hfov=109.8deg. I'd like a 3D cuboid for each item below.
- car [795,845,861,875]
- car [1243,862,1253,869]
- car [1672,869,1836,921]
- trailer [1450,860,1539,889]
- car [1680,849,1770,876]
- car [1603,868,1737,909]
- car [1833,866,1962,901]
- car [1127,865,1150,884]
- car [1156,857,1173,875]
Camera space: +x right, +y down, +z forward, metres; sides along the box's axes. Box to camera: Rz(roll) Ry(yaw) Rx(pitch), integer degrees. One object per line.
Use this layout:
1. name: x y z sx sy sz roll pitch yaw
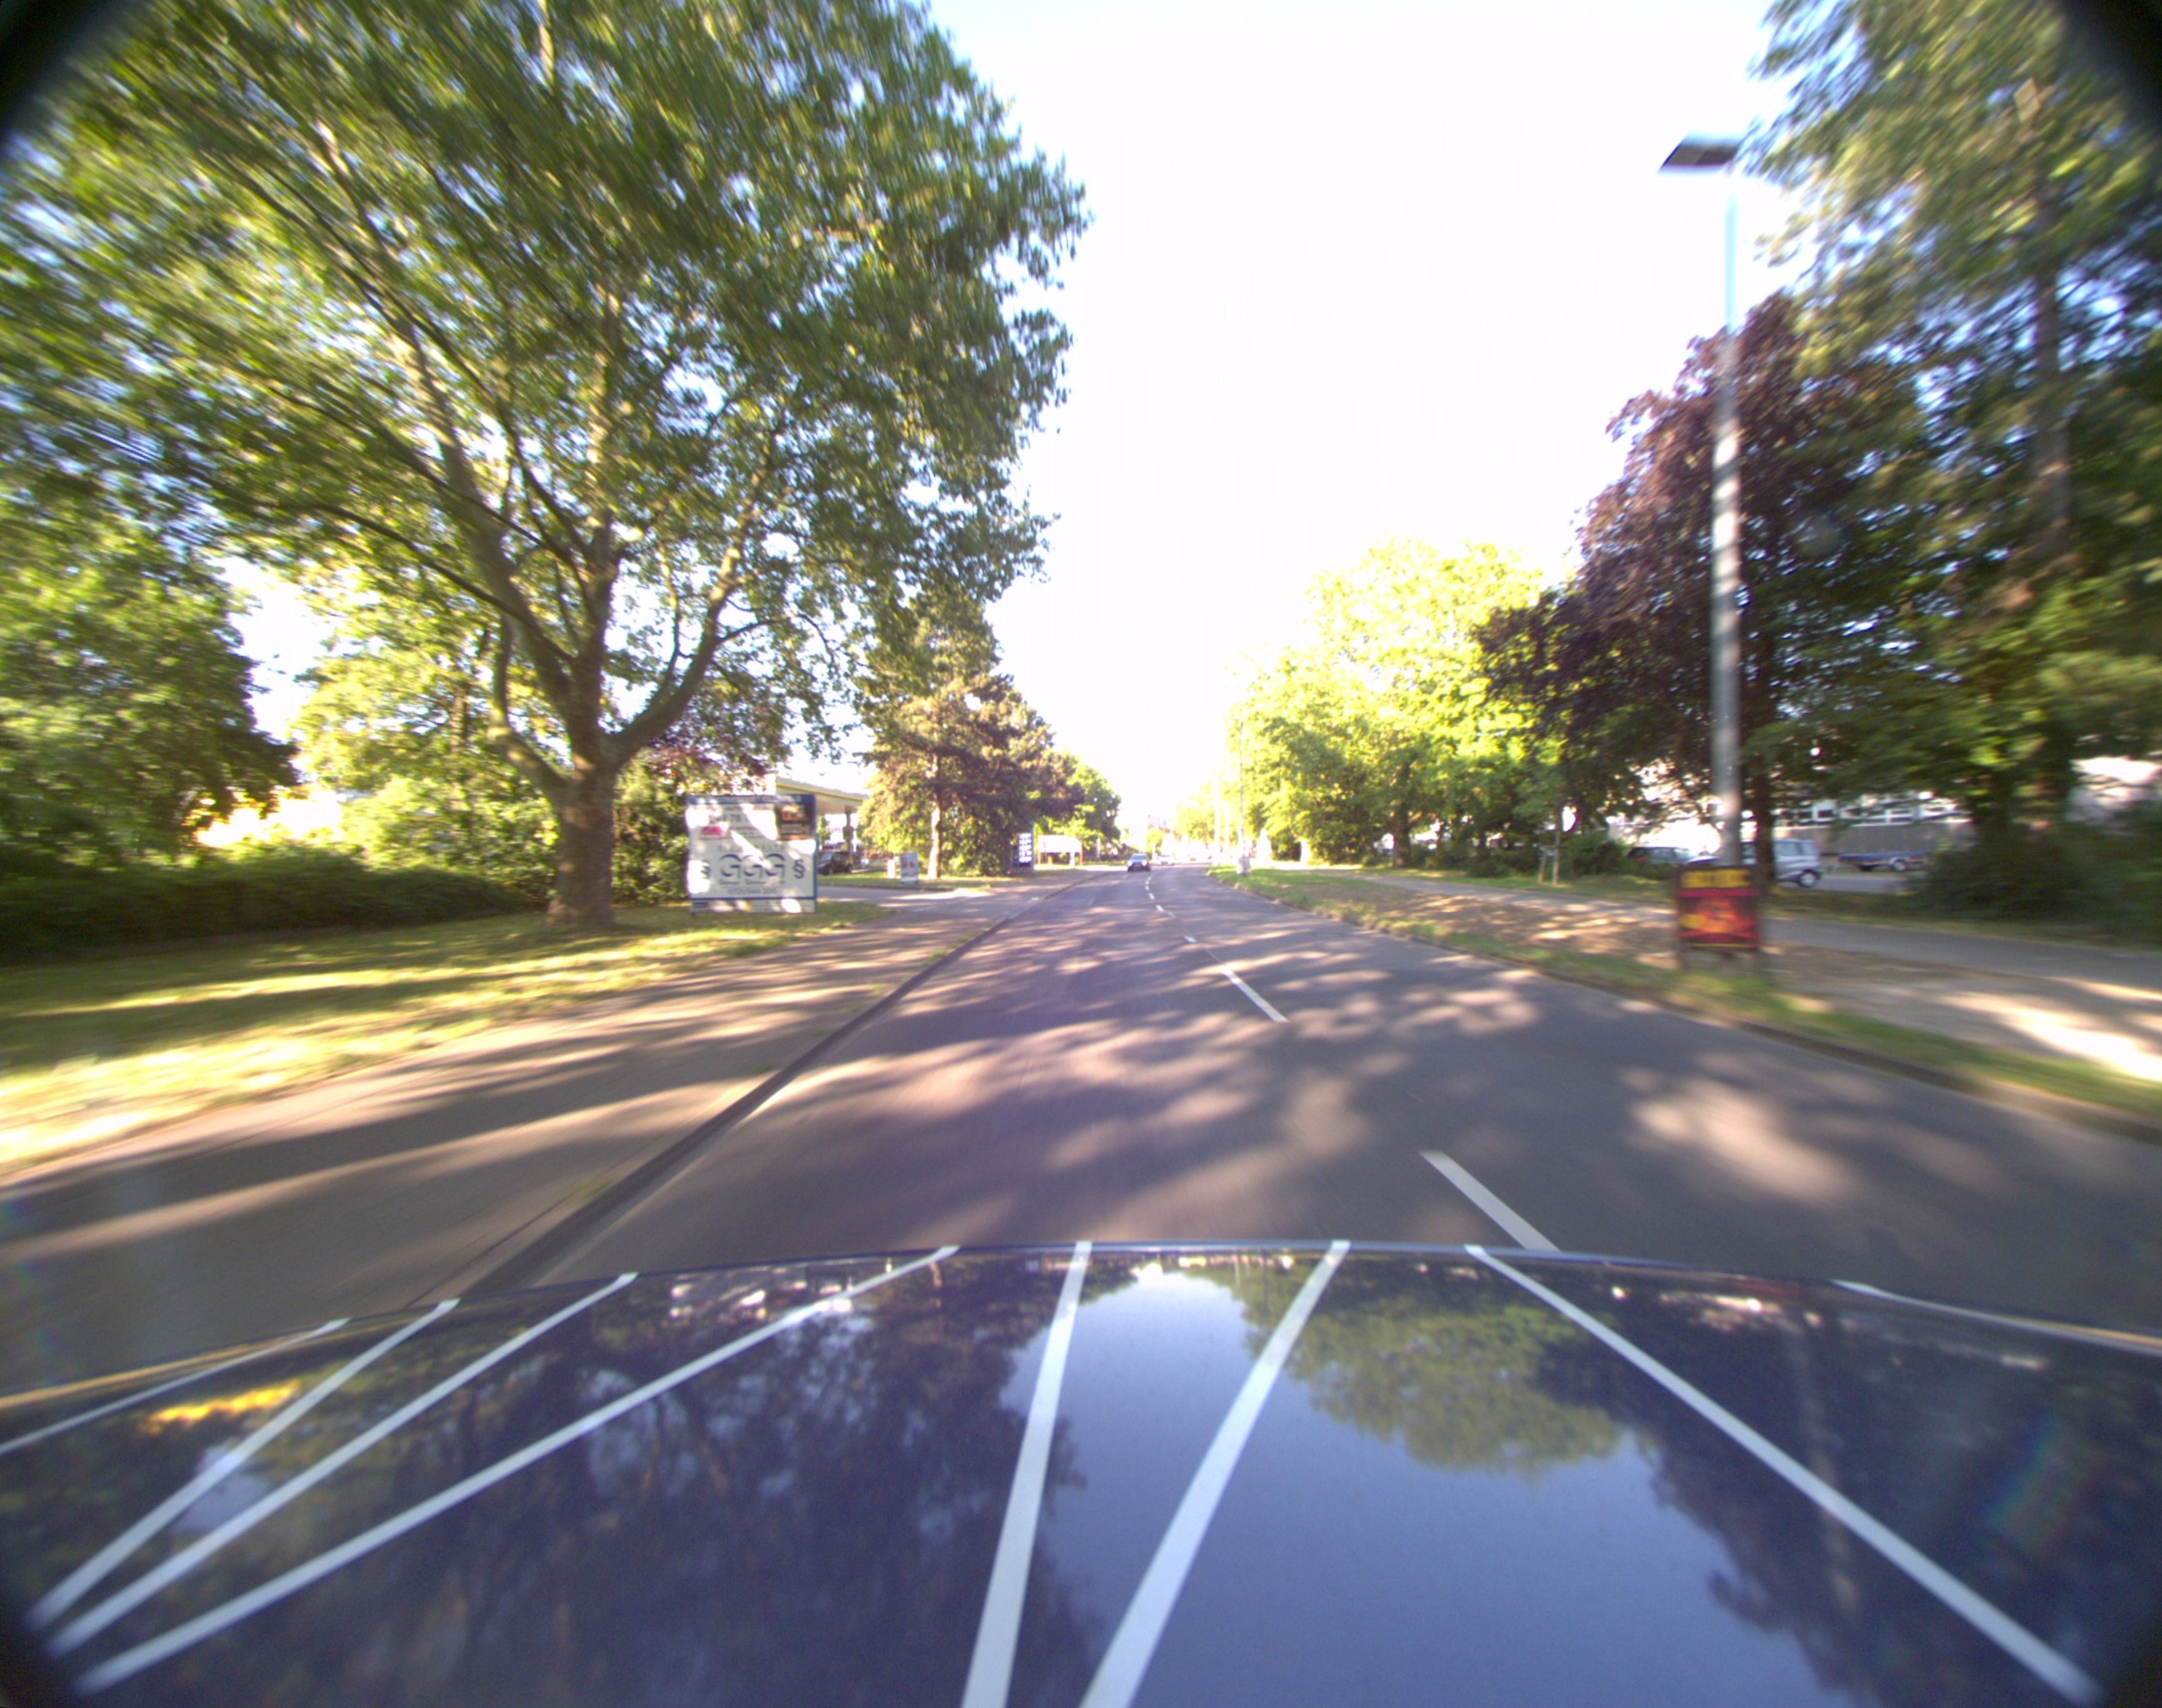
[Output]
1. car: -14.699 0.317 44.420 1.928 1.637 4.477 -1 0 5
2. car: 37.804 2.587 171.759 1.763 1.474 4.113 -3 -1 16
3. car: 23.396 1.405 26.551 3.996 1.592 1.929 -1 1 2
4. trailer: 23.757 1.147 43.783 3.995 1.546 2.001 -1 0 5
5. car: 40.661 0.506 48.041 3.996 1.592 1.930 -1 1 2
6. car: 24.182 1.381 31.319 3.996 1.592 1.930 0 0 1
7. car: 39.032 1.369 36.402 3.996 1.592 1.930 0 0 2
8. car: 4.824 1.699 63.528 1.869 1.471 4.088 0 0 5
9. car: 10.143 1.394 91.844 1.933 2.002 4.001 -1 1 7
